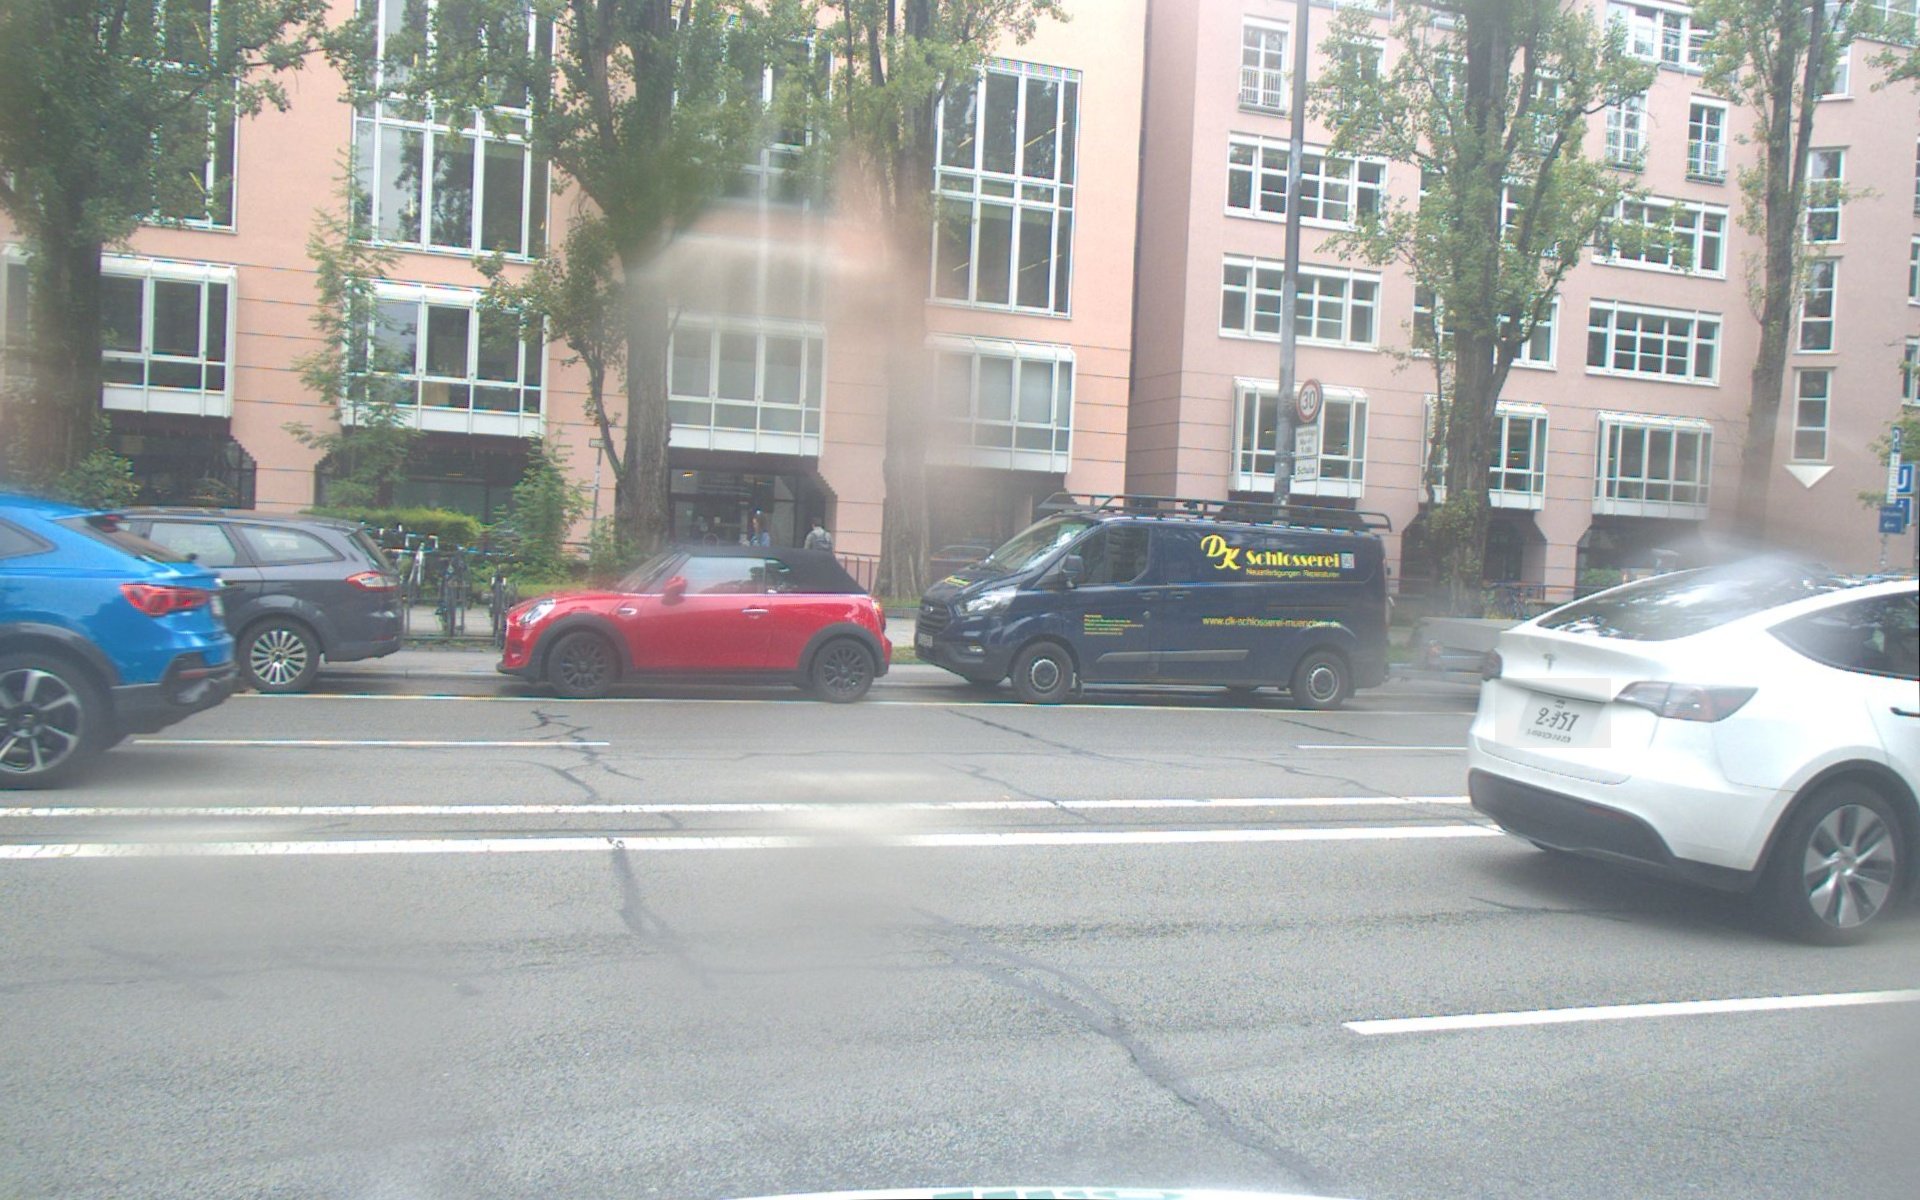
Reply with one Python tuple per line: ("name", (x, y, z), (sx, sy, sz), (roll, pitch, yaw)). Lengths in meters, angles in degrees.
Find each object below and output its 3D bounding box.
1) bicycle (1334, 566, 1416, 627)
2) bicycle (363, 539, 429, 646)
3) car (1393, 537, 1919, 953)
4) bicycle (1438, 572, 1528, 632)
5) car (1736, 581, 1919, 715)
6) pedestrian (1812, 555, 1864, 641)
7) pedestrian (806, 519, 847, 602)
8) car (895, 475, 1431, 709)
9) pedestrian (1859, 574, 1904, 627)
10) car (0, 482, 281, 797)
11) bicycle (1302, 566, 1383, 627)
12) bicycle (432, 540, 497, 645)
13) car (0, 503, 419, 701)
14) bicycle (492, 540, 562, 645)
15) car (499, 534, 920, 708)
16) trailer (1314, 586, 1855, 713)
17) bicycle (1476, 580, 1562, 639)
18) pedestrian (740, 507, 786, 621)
("bicycle", (8.654, -0.087, 34.588), (0.663, 1.143, 1.979), (2, 2, -18))
("bicycle", (-6.540, -0.113, 19.211), (0.663, 1.143, 1.733), (2, 2, -19))
("car", (4.736, 0.616, 8.368), (4.555, 1.602, 1.990), (2, 3, -20))
("bicycle", (11.101, 0.021, 35.179), (0.663, 1.143, 2.096), (2, 2, -18))
("car", (12.371, 0.614, 21.335), (4.154, 1.568, 1.798), (1, 1, -18))
("pedestrian", (17.276, -0.046, 32.560), (0.643, 1.632, 0.559), (2, 2, 1))
("pedestrian", (-2.864, -0.850, 35.467), (0.695, 1.743, 0.729), (2, 2, -16))
("car", (2.194, -0.070, 17.954), (5.397, 2.235, 2.013), (2, 2, -20))
("pedestrian", (30.067, 0.012, 53.972), (0.880, 1.690, 0.813), (2, 2, -19))
("car", (-6.076, 0.151, 8.942), (4.345, 1.606, 1.860), (2, 1, -22))
("bicycle", (7.930, -0.085, 34.384), (0.663, 1.143, 1.979), (2, 2, -18))
("bicycle", (-5.839, -0.110, 19.442), (0.663, 1.143, 1.733), (2, 2, -19))
("car", (-7.152, -0.008, 14.465), (4.539, 1.555, 1.784), (2, 2, -20))
("bicycle", (-5.168, -0.111, 19.687), (0.663, 1.143, 1.721), (2, 2, -19))
("car", (-2.457, 0.191, 16.014), (3.799, 1.473, 1.671), (2, 2, -17))
("trailer", (7.486, 0.589, 19.903), (5.927, 1.220, 2.393), (2, 2, -19))
("bicycle", (12.014, 0.189, 35.617), (0.663, 1.143, 1.979), (2, 2, -18))
("pedestrian", (-2.993, -0.554, 25.076), (0.548, 1.692, 0.618), (2, 2, -15))
